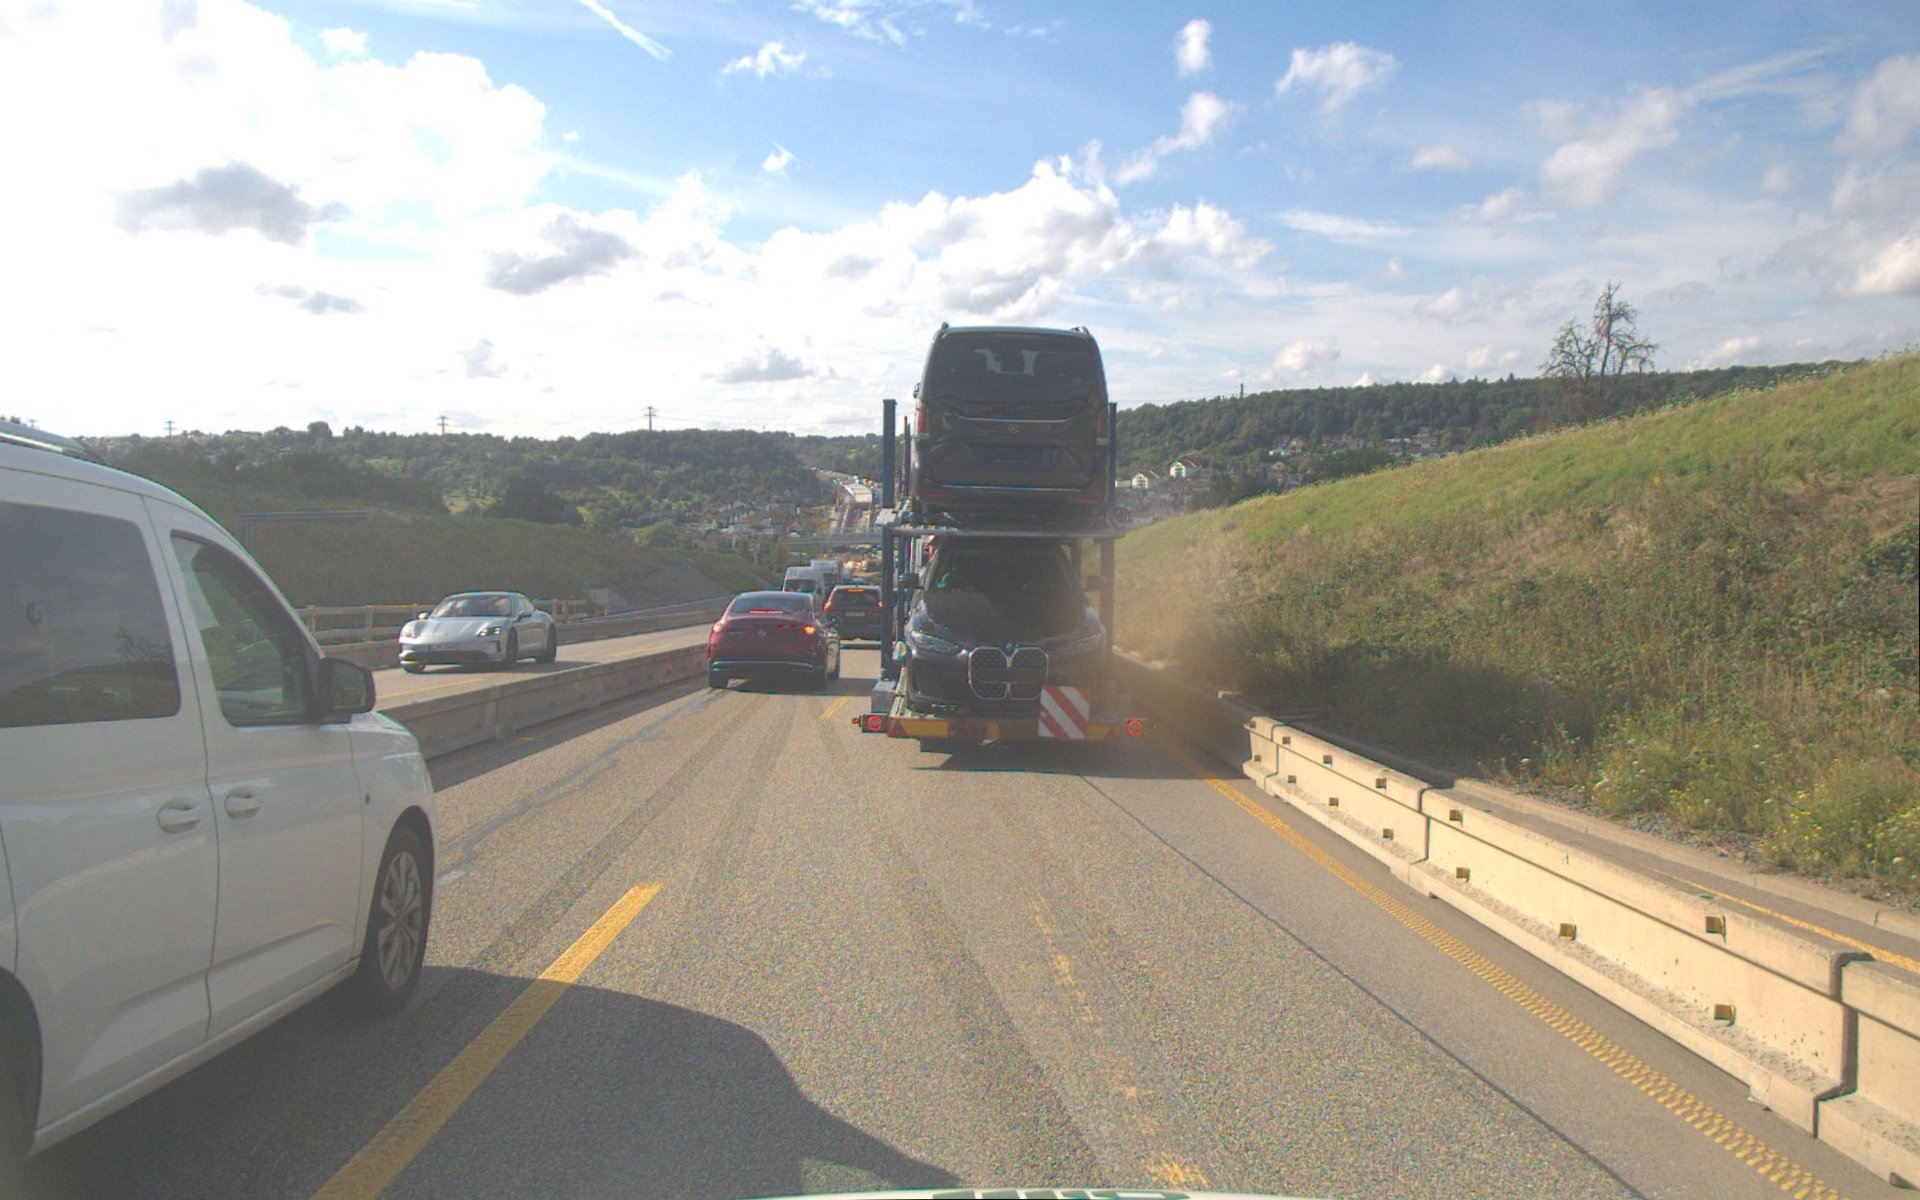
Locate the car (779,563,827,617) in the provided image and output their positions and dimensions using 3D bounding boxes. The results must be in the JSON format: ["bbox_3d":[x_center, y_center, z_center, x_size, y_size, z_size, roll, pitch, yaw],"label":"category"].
[{"bbox_3d":[-8.920,-0.564,94.552,2.067,2.885,6.138,-2,0,0],"label":"car"}]

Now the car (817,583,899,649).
[{"bbox_3d":[-2.704,0.377,44.651,1.953,1.653,4.749,1,1,-1],"label":"car"}]

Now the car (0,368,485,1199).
[{"bbox_3d":[-2.745,0.452,4.271,1.786,1.855,4.455,1,1,-1],"label":"car"}]

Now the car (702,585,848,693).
[{"bbox_3d":[-2.861,0.546,26.487,1.786,1.518,4.684,1,1,0],"label":"car"}]

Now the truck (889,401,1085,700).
[{"bbox_3d":[0.367,-0.681,25.165,2.623,3.990,6.027,0,0,0],"label":"truck"}]

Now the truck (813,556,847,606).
[{"bbox_3d":[-11.167,-1.597,142.543,2.561,4.226,5.780,0,0,-1],"label":"truck"}]

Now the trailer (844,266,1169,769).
[{"bbox_3d":[0.371,-0.711,19.231,2.653,4.099,11.419,0,0,0],"label":"trailer"}]

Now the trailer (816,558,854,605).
[{"bbox_3d":[-11.188,-1.612,149.368,2.561,4.023,13.872,0,0,-1],"label":"trailer"}]

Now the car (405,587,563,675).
[{"bbox_3d":[-8.815,0.533,31.041,1.699,1.450,4.626,-3,0,-2],"label":"car"}]

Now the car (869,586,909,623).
[{"bbox_3d":[-3.237,0.188,76.436,1.760,1.624,4.741,0,0,-2],"label":"car"}]
